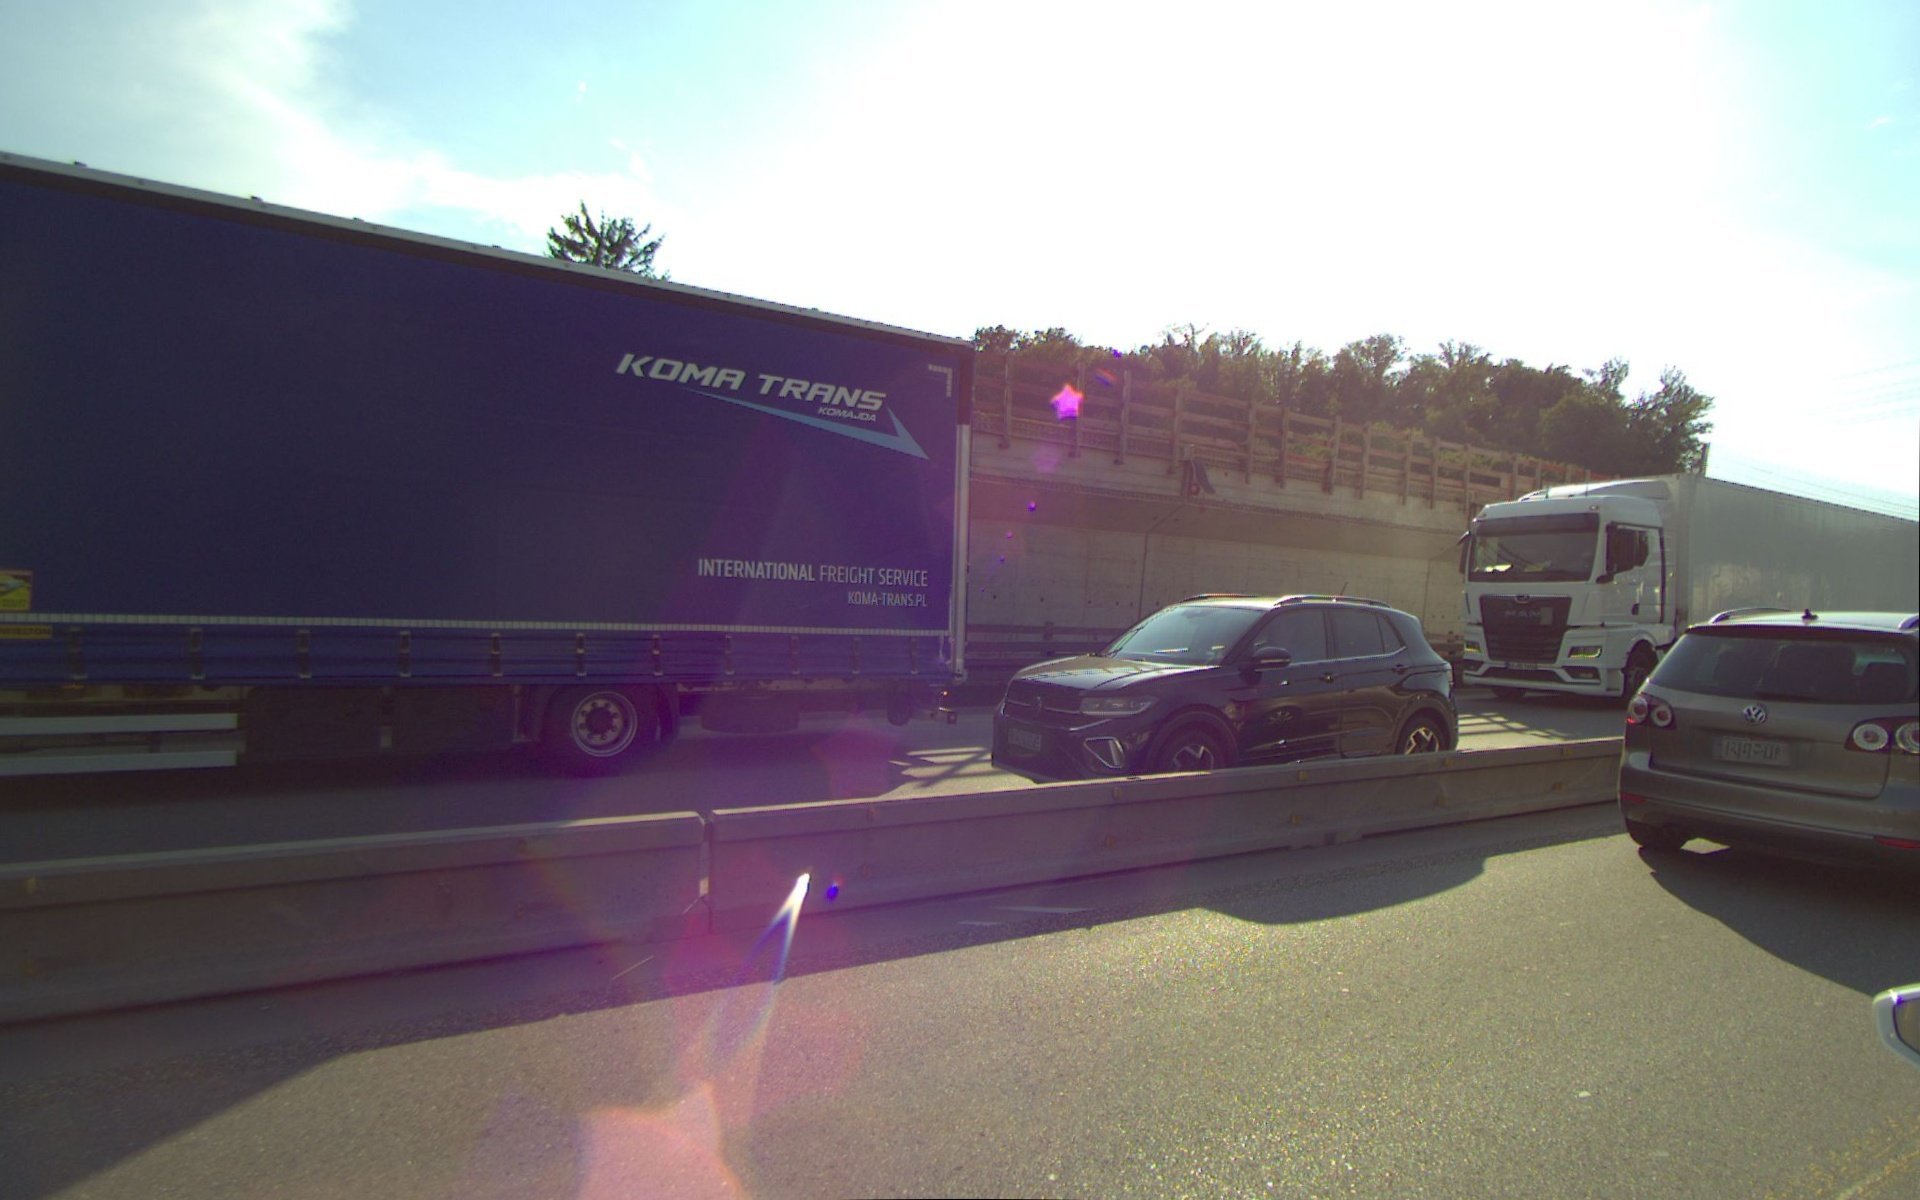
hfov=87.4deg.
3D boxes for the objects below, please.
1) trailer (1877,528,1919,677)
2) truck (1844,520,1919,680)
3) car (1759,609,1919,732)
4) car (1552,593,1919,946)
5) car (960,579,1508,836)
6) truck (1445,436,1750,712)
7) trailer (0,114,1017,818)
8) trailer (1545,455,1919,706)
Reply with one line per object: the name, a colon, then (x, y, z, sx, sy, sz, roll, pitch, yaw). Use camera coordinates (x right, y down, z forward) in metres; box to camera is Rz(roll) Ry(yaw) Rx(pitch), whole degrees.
trailer: (33.462, 0.287, 32.059, 13.684, 4.259, 2.760, 2, 0, -33)
truck: (27.989, 0.094, 28.495, 6.049, 4.259, 2.748, 2, 0, -33)
car: (15.117, 1.090, 16.171, 4.675, 1.628, 1.871, 2, 2, -30)
car: (5.796, 0.837, 6.376, 4.098, 1.608, 1.693, 2, 0, -30)
car: (2.300, 0.718, 8.070, 4.319, 1.597, 1.691, 2, 0, -30)
truck: (11.695, -0.343, 18.341, 5.411, 4.373, 2.443, 2, 0, -31)
trailer: (-3.737, -0.712, 8.718, 8.190, 4.160, 2.802, 2, 0, -30)
trailer: (17.905, -0.152, 22.164, 13.621, 4.377, 2.442, 2, 0, -32)
